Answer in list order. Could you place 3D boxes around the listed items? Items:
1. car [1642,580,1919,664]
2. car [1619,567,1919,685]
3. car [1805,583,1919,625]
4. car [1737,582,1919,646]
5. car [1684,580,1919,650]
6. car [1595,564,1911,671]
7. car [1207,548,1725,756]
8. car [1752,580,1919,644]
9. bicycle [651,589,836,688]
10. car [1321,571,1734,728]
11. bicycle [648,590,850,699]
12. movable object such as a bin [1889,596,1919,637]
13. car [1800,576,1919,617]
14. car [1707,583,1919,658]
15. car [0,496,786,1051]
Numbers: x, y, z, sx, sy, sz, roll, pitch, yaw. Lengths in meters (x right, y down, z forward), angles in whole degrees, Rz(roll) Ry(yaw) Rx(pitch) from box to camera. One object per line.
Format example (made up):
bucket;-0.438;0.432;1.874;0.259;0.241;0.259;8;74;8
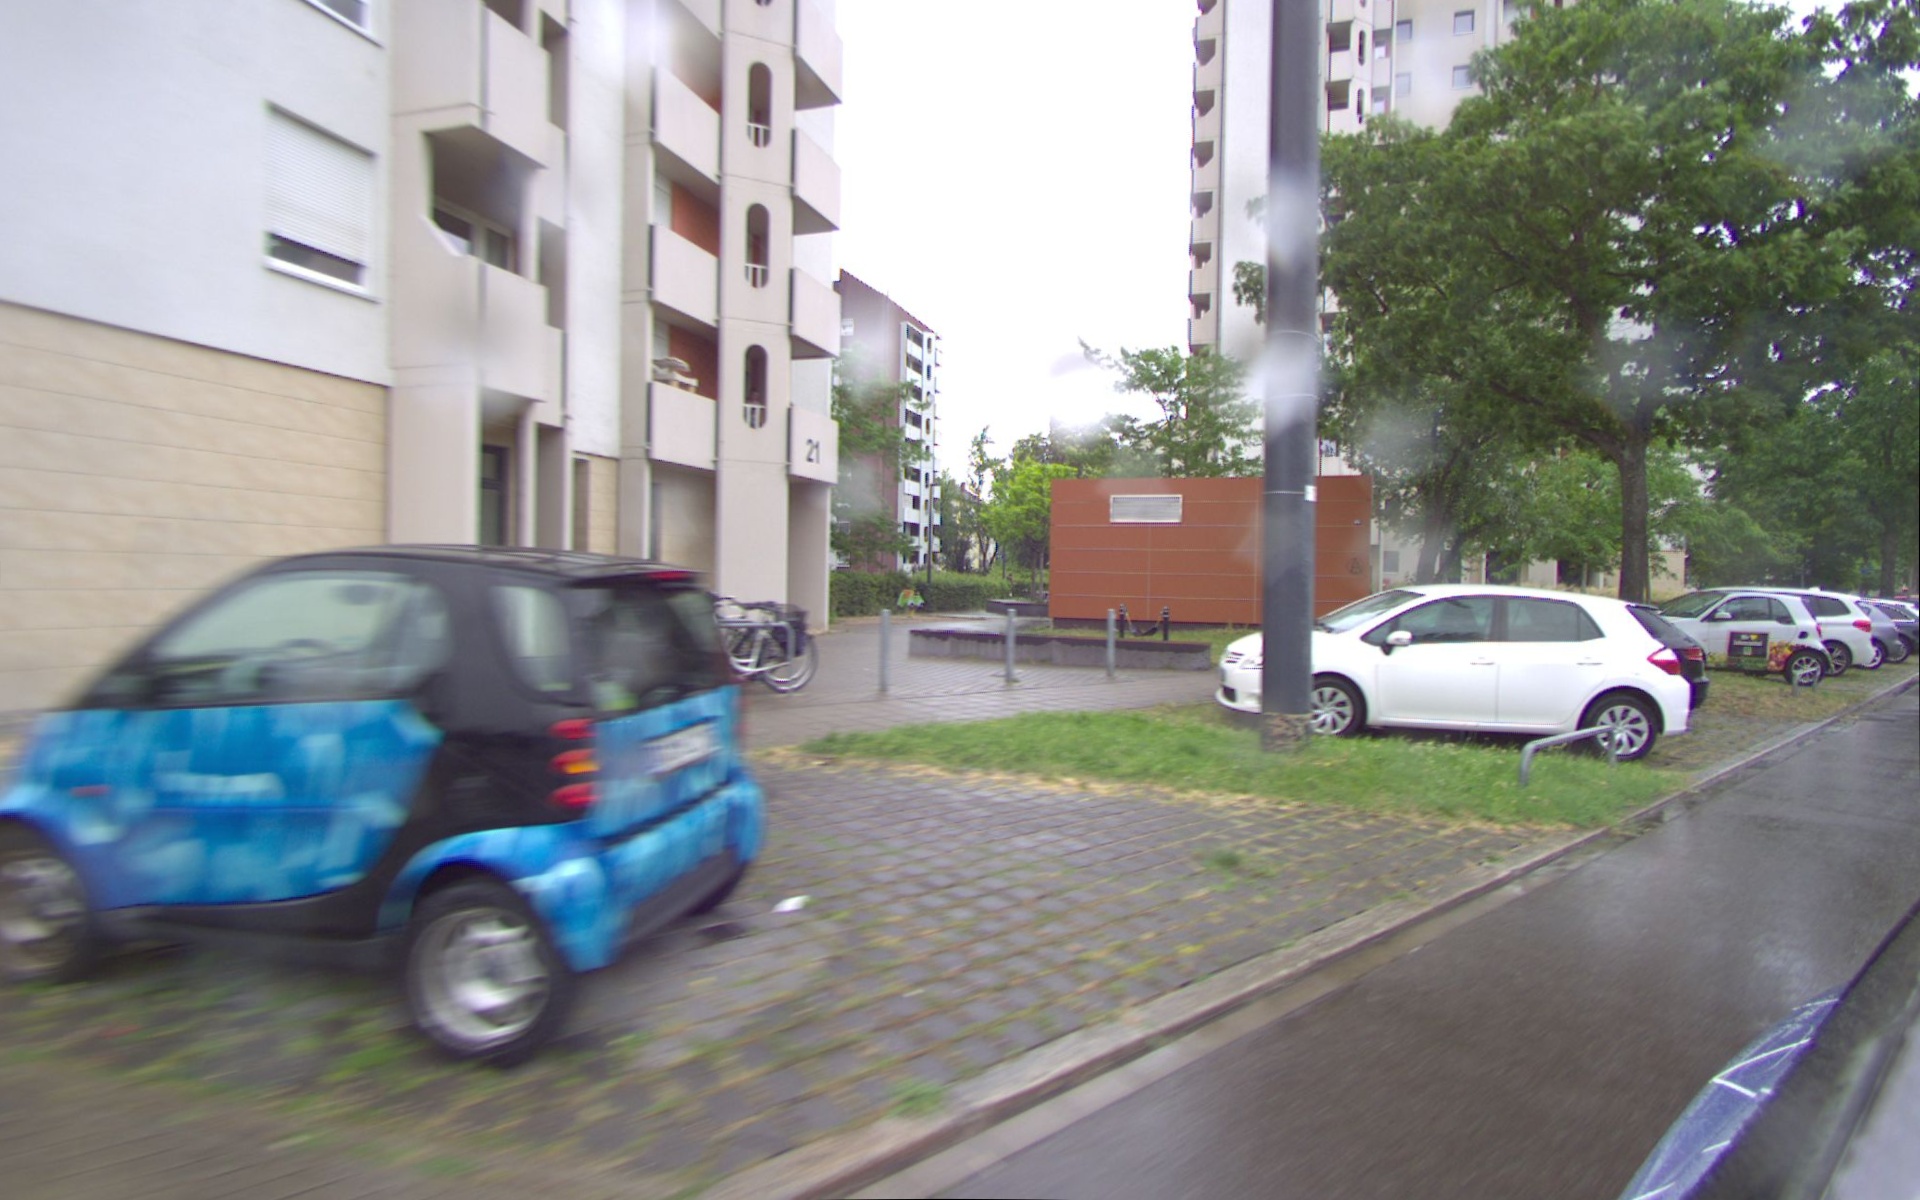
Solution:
car;17.650;0.424;21.852;4.397;1.427;1.761;4;2;15
car;14.190;0.403;17.595;4.122;1.692;1.679;4;2;13
car;38.182;0.169;42.252;3.987;1.507;1.718;4;2;13
car;24.513;0.380;27.928;4.397;1.483;1.812;4;2;15
car;21.885;0.349;26.432;4.391;1.445;1.804;4;2;11
car;15.258;0.280;19.733;4.389;1.692;1.808;4;2;10
car;4.675;0.410;9.991;4.118;1.566;1.761;4;2;10
car;26.673;0.360;30.157;4.402;1.560;1.676;4;4;18
bicycle;-2.461;0.401;11.684;2.022;1.018;0.662;-1;1;-41
car;6.531;0.493;12.109;3.885;1.449;1.679;4;2;13
bicycle;-2.192;0.420;10.696;2.022;1.018;0.662;-1;1;-41
movable object such as a bin;32.032;0.537;33.809;0.981;1.329;1.183;0;1;11
car;40.011;-0.178;44.753;3.986;1.706;1.718;1;1;13
car;20.495;0.462;23.712;4.399;1.445;1.677;4;2;16
car;-2.134;0.446;3.865;2.523;1.567;1.599;1;2;10
